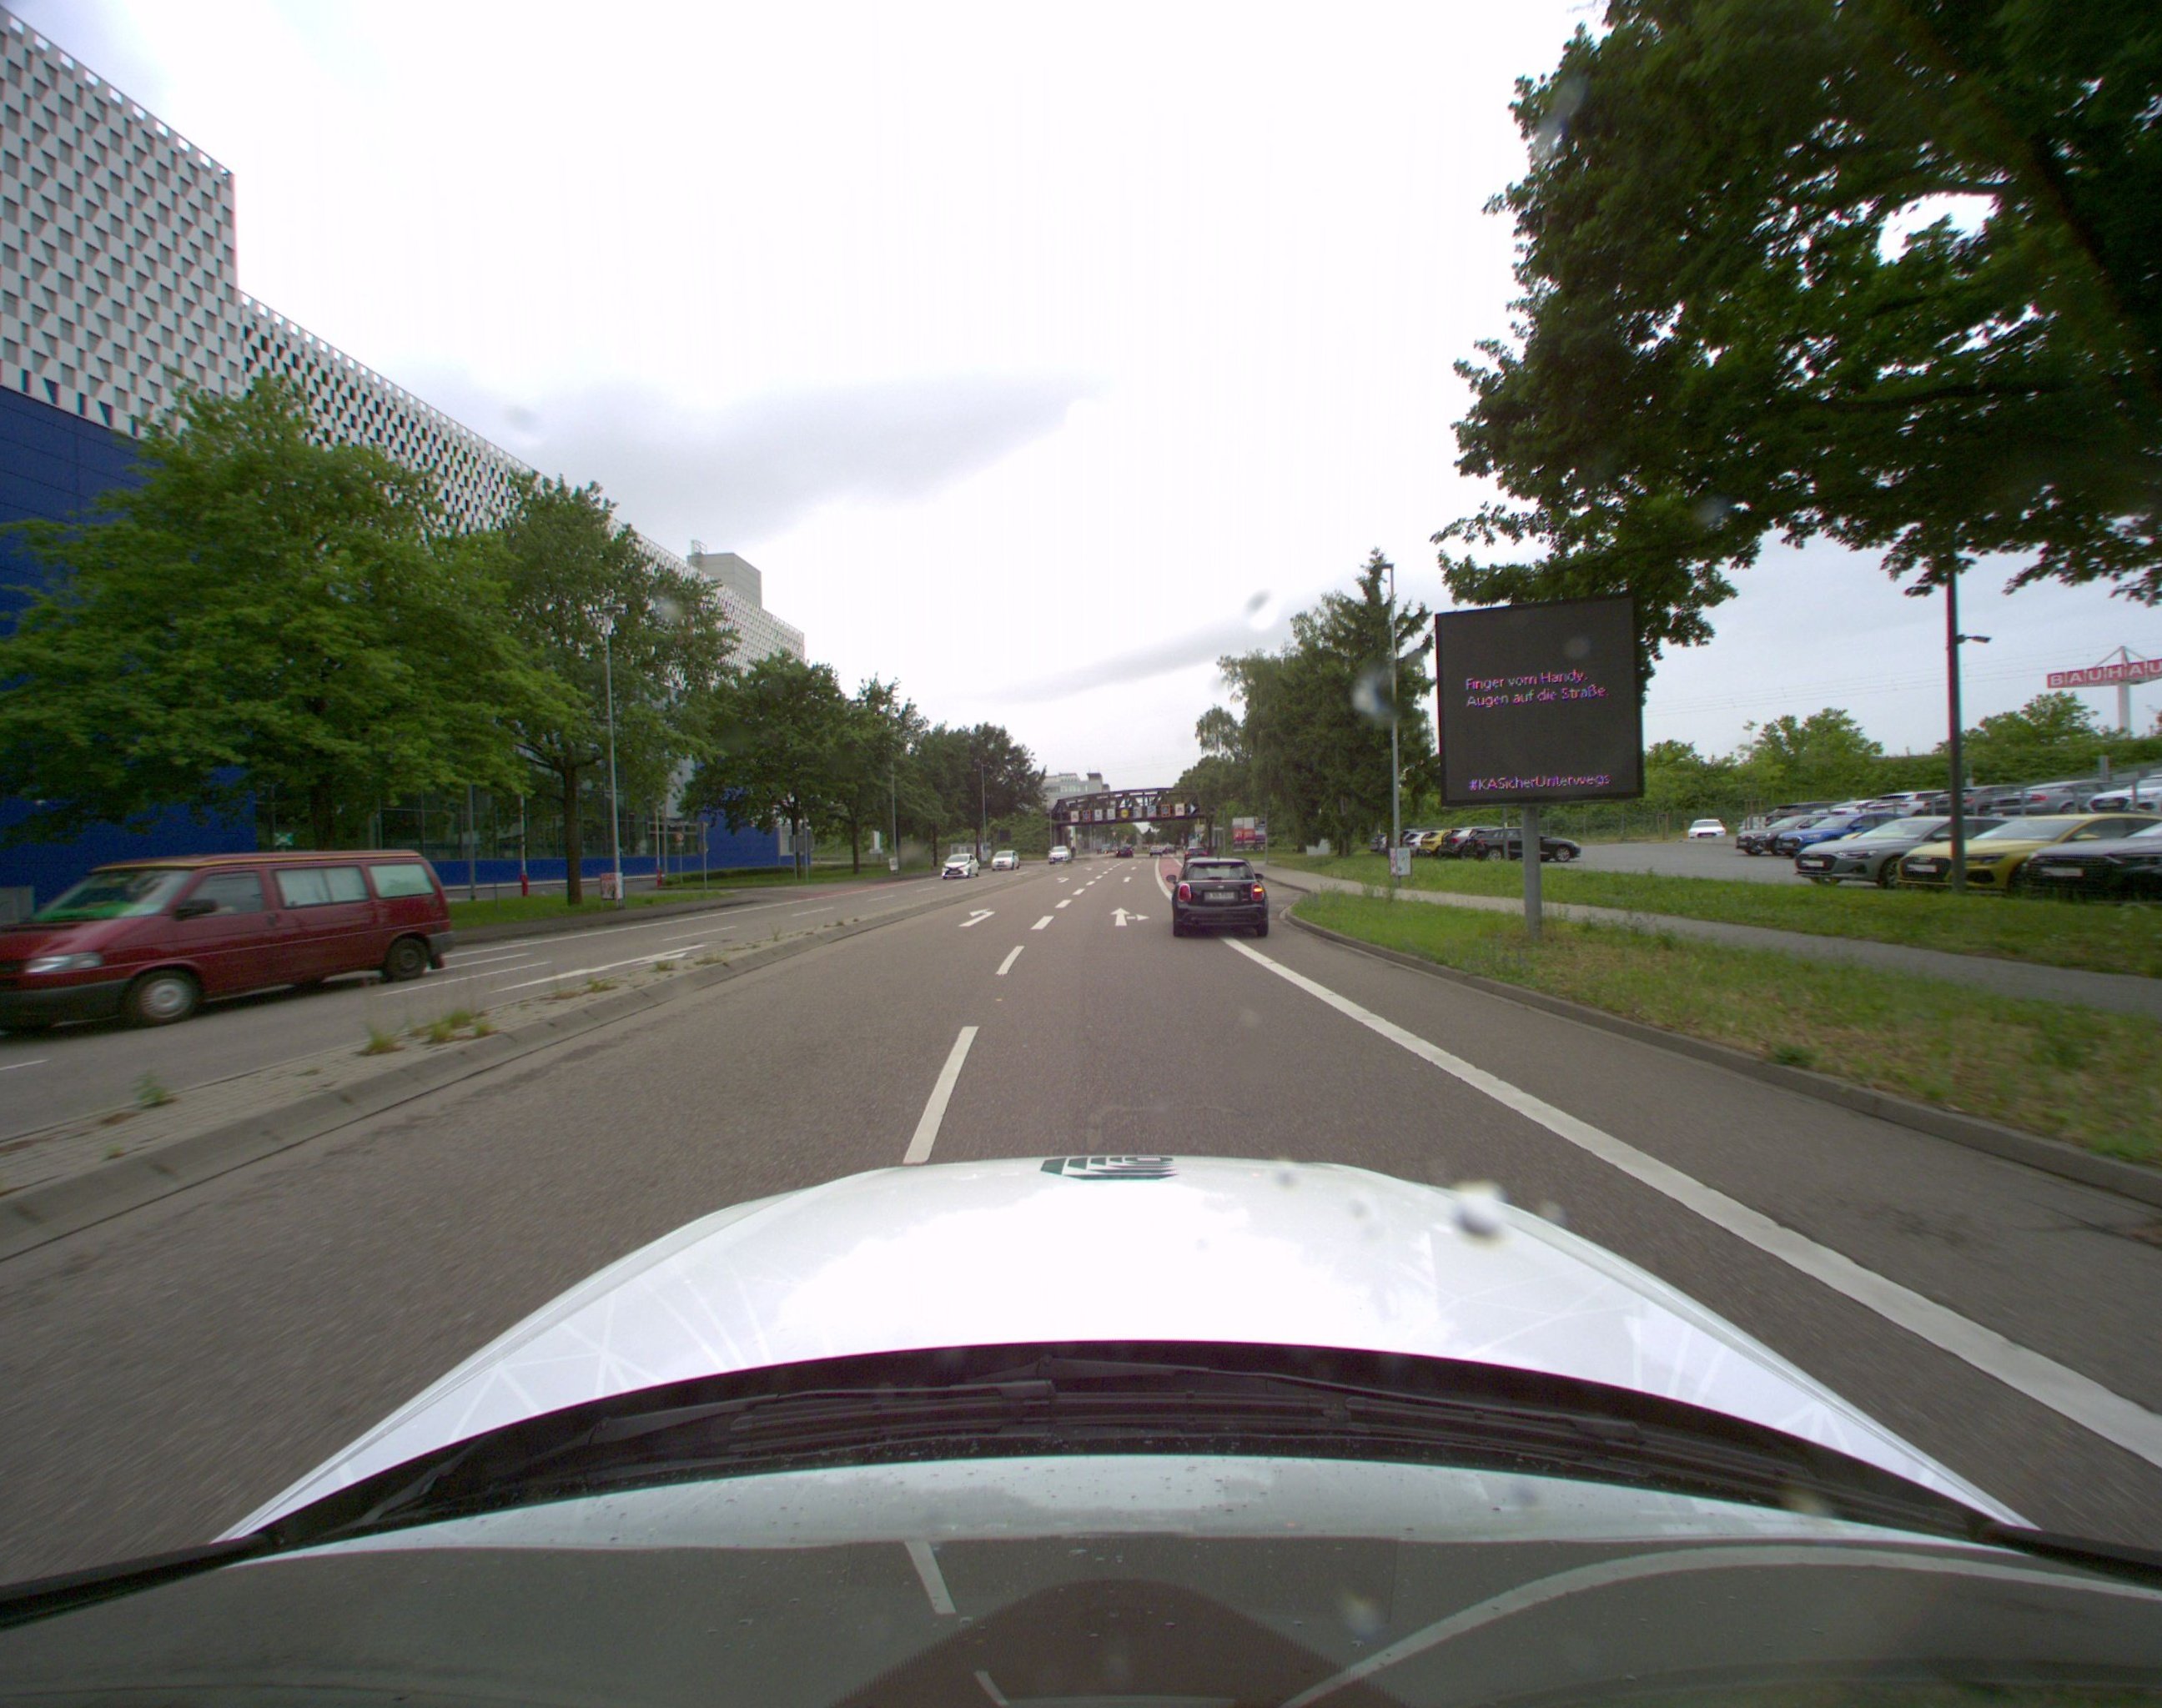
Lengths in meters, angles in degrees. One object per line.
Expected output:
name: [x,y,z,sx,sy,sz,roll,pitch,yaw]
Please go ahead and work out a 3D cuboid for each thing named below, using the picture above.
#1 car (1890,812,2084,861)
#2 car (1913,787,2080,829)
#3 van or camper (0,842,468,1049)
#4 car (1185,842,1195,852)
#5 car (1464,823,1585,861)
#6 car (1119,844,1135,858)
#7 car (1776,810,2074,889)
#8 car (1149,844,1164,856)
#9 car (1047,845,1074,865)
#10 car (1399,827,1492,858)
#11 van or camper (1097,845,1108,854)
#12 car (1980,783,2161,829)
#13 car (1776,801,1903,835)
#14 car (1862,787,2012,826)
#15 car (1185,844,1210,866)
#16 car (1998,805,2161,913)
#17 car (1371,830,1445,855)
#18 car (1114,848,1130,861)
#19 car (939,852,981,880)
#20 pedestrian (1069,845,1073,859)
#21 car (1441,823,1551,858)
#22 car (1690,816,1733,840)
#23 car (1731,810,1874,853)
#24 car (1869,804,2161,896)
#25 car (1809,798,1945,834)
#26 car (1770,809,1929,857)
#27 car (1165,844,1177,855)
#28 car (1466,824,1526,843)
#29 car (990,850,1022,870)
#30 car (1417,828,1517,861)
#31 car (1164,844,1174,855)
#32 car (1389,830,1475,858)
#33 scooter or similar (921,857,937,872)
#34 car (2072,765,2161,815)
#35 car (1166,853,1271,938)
car: [28.585,-0.555,25.802,4.067,1.435,1.732,-1,2,4]
car: [33.662,-1.673,30.032,4.067,1.435,1.732,-1,2,4]
van or camper: [-10.872,0.902,10.485,1.866,1.986,4.896,-3,1,5]
car: [21.683,-1.355,162.366,1.939,1.815,4.010,-1,2,8]
car: [17.806,-0.510,32.860,3.961,1.435,1.736,-1,2,11]
car: [6.694,-0.425,118.156,1.939,1.815,4.010,-1,2,8]
car: [16.775,-0.116,16.367,4.067,1.435,1.732,-1,2,4]
car: [11.557,-0.593,124.012,2.123,1.661,3.791,-1,2,8]
car: [-1.929,0.089,76.884,1.929,1.675,3.791,-1,2,8]
car: [18.096,-0.591,40.622,3.961,1.435,1.736,-1,2,11]
van or camper: [5.889,-1.329,224.550,1.981,2.485,7.047,-2,0,9]
car: [33.459,-1.592,27.532,4.067,1.435,1.732,-1,2,4]
car: [34.531,-1.643,37.160,4.067,1.435,1.732,-1,2,4]
car: [34.160,-1.894,32.589,4.067,1.435,1.732,-1,2,4]
car: [8.570,0.057,59.775,1.747,1.434,4.010,-2,1,8]
car: [16.262,0.001,11.662,4.067,1.435,1.824,-1,2,4]
car: [19.849,-0.709,49.578,3.961,1.435,1.736,-1,2,11]
car: [5.598,0.046,111.311,1.874,1.661,3.791,-1,2,8]
car: [-7.207,0.674,48.675,1.747,1.446,3.343,-1,2,4]
pedestrian: [-1.532,-0.315,126.551,0.536,2.013,0.486,0,2,16]
car: [17.871,-0.585,35.248,3.961,1.435,1.736,-1,2,11]
car: [38.751,-1.617,50.147,1.974,1.398,4.026,1,3,36]
car: [28.547,-0.900,32.315,4.067,1.620,1.732,-1,2,4]
car: [16.578,-0.106,14.054,4.067,1.435,1.849,-1,2,4]
car: [34.189,-1.640,35.065,4.067,1.435,1.732,-1,2,4]
car: [27.854,-0.783,29.626,4.067,1.620,1.732,-1,2,4]
car: [14.467,-0.705,130.830,1.874,1.661,3.791,-1,2,8]
car: [32.895,-1.639,64.631,3.961,1.435,1.736,-1,2,11]
car: [-5.703,0.422,62.271,1.710,1.371,3.448,-1,2,8]
car: [18.051,-0.461,38.259,3.961,1.435,1.736,-1,2,11]
car: [16.994,-0.867,157.022,1.939,1.815,4.010,-1,2,8]
car: [18.784,-0.556,43.753,3.961,1.435,1.736,-1,2,11]
scooter or similar: [-12.154,0.814,65.315,0.759,1.089,2.009,-1,2,4]
car: [33.527,-1.970,24.883,4.180,1.435,1.732,-1,2,4]
car: [2.583,0.705,15.767,1.776,1.415,3.650,0,0,7]
